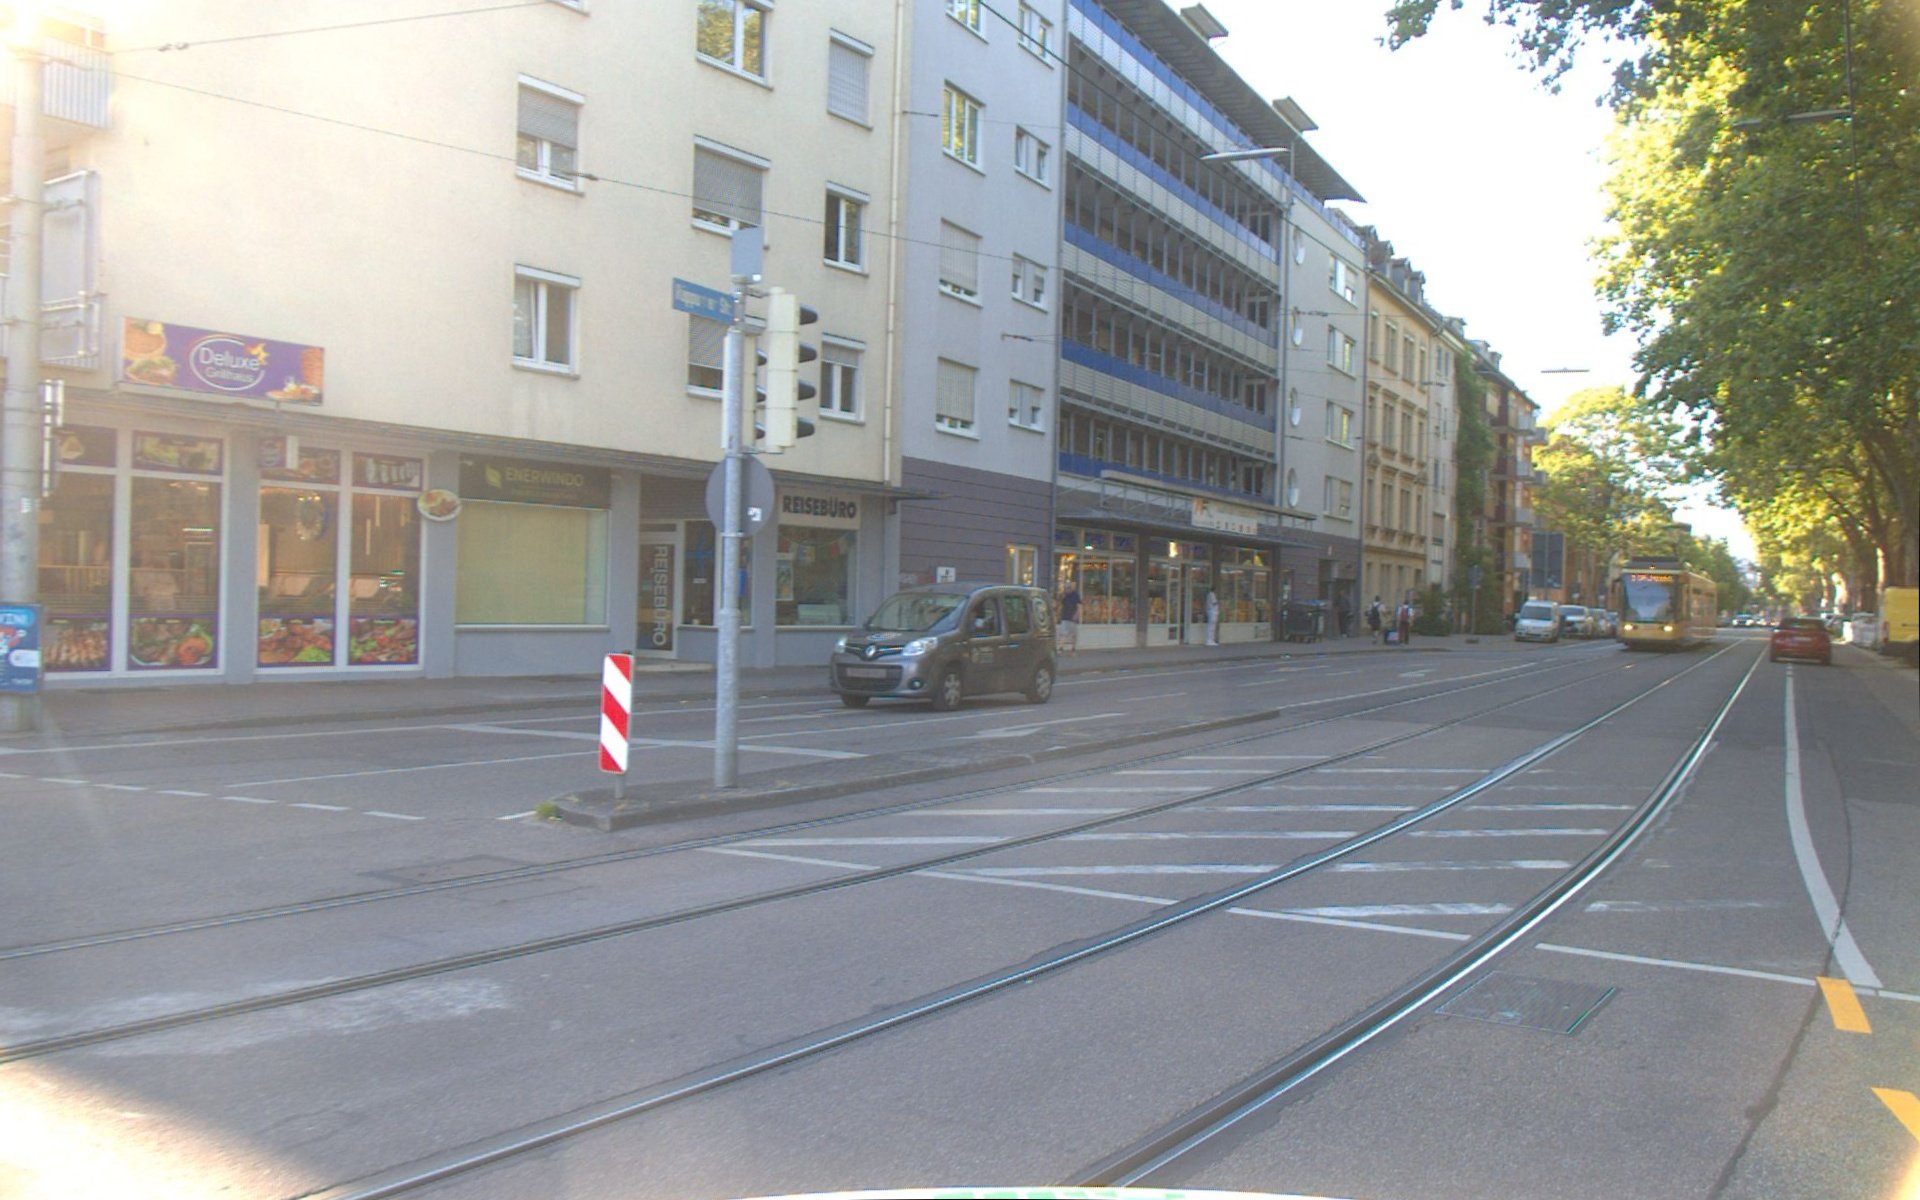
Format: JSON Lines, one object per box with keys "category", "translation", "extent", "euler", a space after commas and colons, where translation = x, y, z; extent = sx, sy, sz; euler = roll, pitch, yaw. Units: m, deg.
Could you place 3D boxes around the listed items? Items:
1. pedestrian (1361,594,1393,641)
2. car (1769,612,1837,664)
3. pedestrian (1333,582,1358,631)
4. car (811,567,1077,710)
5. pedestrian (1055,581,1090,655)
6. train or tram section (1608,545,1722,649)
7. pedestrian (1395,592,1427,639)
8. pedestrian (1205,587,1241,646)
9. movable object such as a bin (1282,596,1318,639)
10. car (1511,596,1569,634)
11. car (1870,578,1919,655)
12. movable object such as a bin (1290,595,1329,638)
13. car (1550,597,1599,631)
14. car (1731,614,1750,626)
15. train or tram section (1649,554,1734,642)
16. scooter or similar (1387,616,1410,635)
{"category": "pedestrian", "translation": [14.957, 0.623, 59.358], "extent": [0.875, 1.653, 1.033], "euler": [1, 0, 28]}
{"category": "car", "translation": [27.063, 1.221, 53.092], "extent": [1.857, 1.592, 4.386], "euler": [0, -2, 28]}
{"category": "pedestrian", "translation": [15.218, 0.240, 65.321], "extent": [0.873, 1.896, 0.789], "euler": [1, 0, 16]}
{"category": "car", "translation": [-0.119, 0.501, 23.862], "extent": [1.874, 1.838, 4.353], "euler": [1, 0, 30]}
{"category": "pedestrian", "translation": [2.586, 0.417, 38.028], "extent": [0.649, 1.677, 0.626], "euler": [1, 0, 15]}
{"category": "train or tram section", "translation": [28.059, -0.099, 65.416], "extent": [2.807, 3.701, 13.175], "euler": [1, 0, 29]}
{"category": "pedestrian", "translation": [16.184, 0.550, 59.307], "extent": [0.875, 1.653, 1.033], "euler": [1, 0, 28]}
{"category": "pedestrian", "translation": [7.846, 0.484, 49.421], "extent": [1.007, 1.691, 1.228], "euler": [1, 0, 8]}
{"category": "movable object such as a bin", "translation": [11.579, 0.588, 56.298], "extent": [0.992, 1.453, 1.144], "euler": [1, 0, 23]}
{"category": "car", "translation": [25.682, 0.634, 73.128], "extent": [1.857, 1.591, 4.388], "euler": [1, 0, 26]}
{"category": "car", "translation": [31.941, 0.567, 51.914], "extent": [5.833, 2.407, 2.057], "euler": [1, 0, 29]}
{"category": "movable object such as a bin", "translation": [12.186, 0.567, 57.601], "extent": [0.993, 1.453, 1.255], "euler": [1, 0, 28]}
{"category": "car", "translation": [30.657, 0.697, 82.454], "extent": [1.857, 1.591, 4.388], "euler": [1, 0, 26]}
{"category": "car", "translation": [97.829, 2.499, 207.238], "extent": [1.953, 1.536, 3.999], "euler": [1, 0, 23]}
{"category": "train or tram section", "translation": [34.153, -0.072, 76.887], "extent": [2.778, 3.701, 12.800], "euler": [1, 0, 27]}
{"category": "scooter or similar", "translation": [15.547, 0.908, 58.664], "extent": [0.612, 0.659, 0.765], "euler": [1, 0, 28]}
